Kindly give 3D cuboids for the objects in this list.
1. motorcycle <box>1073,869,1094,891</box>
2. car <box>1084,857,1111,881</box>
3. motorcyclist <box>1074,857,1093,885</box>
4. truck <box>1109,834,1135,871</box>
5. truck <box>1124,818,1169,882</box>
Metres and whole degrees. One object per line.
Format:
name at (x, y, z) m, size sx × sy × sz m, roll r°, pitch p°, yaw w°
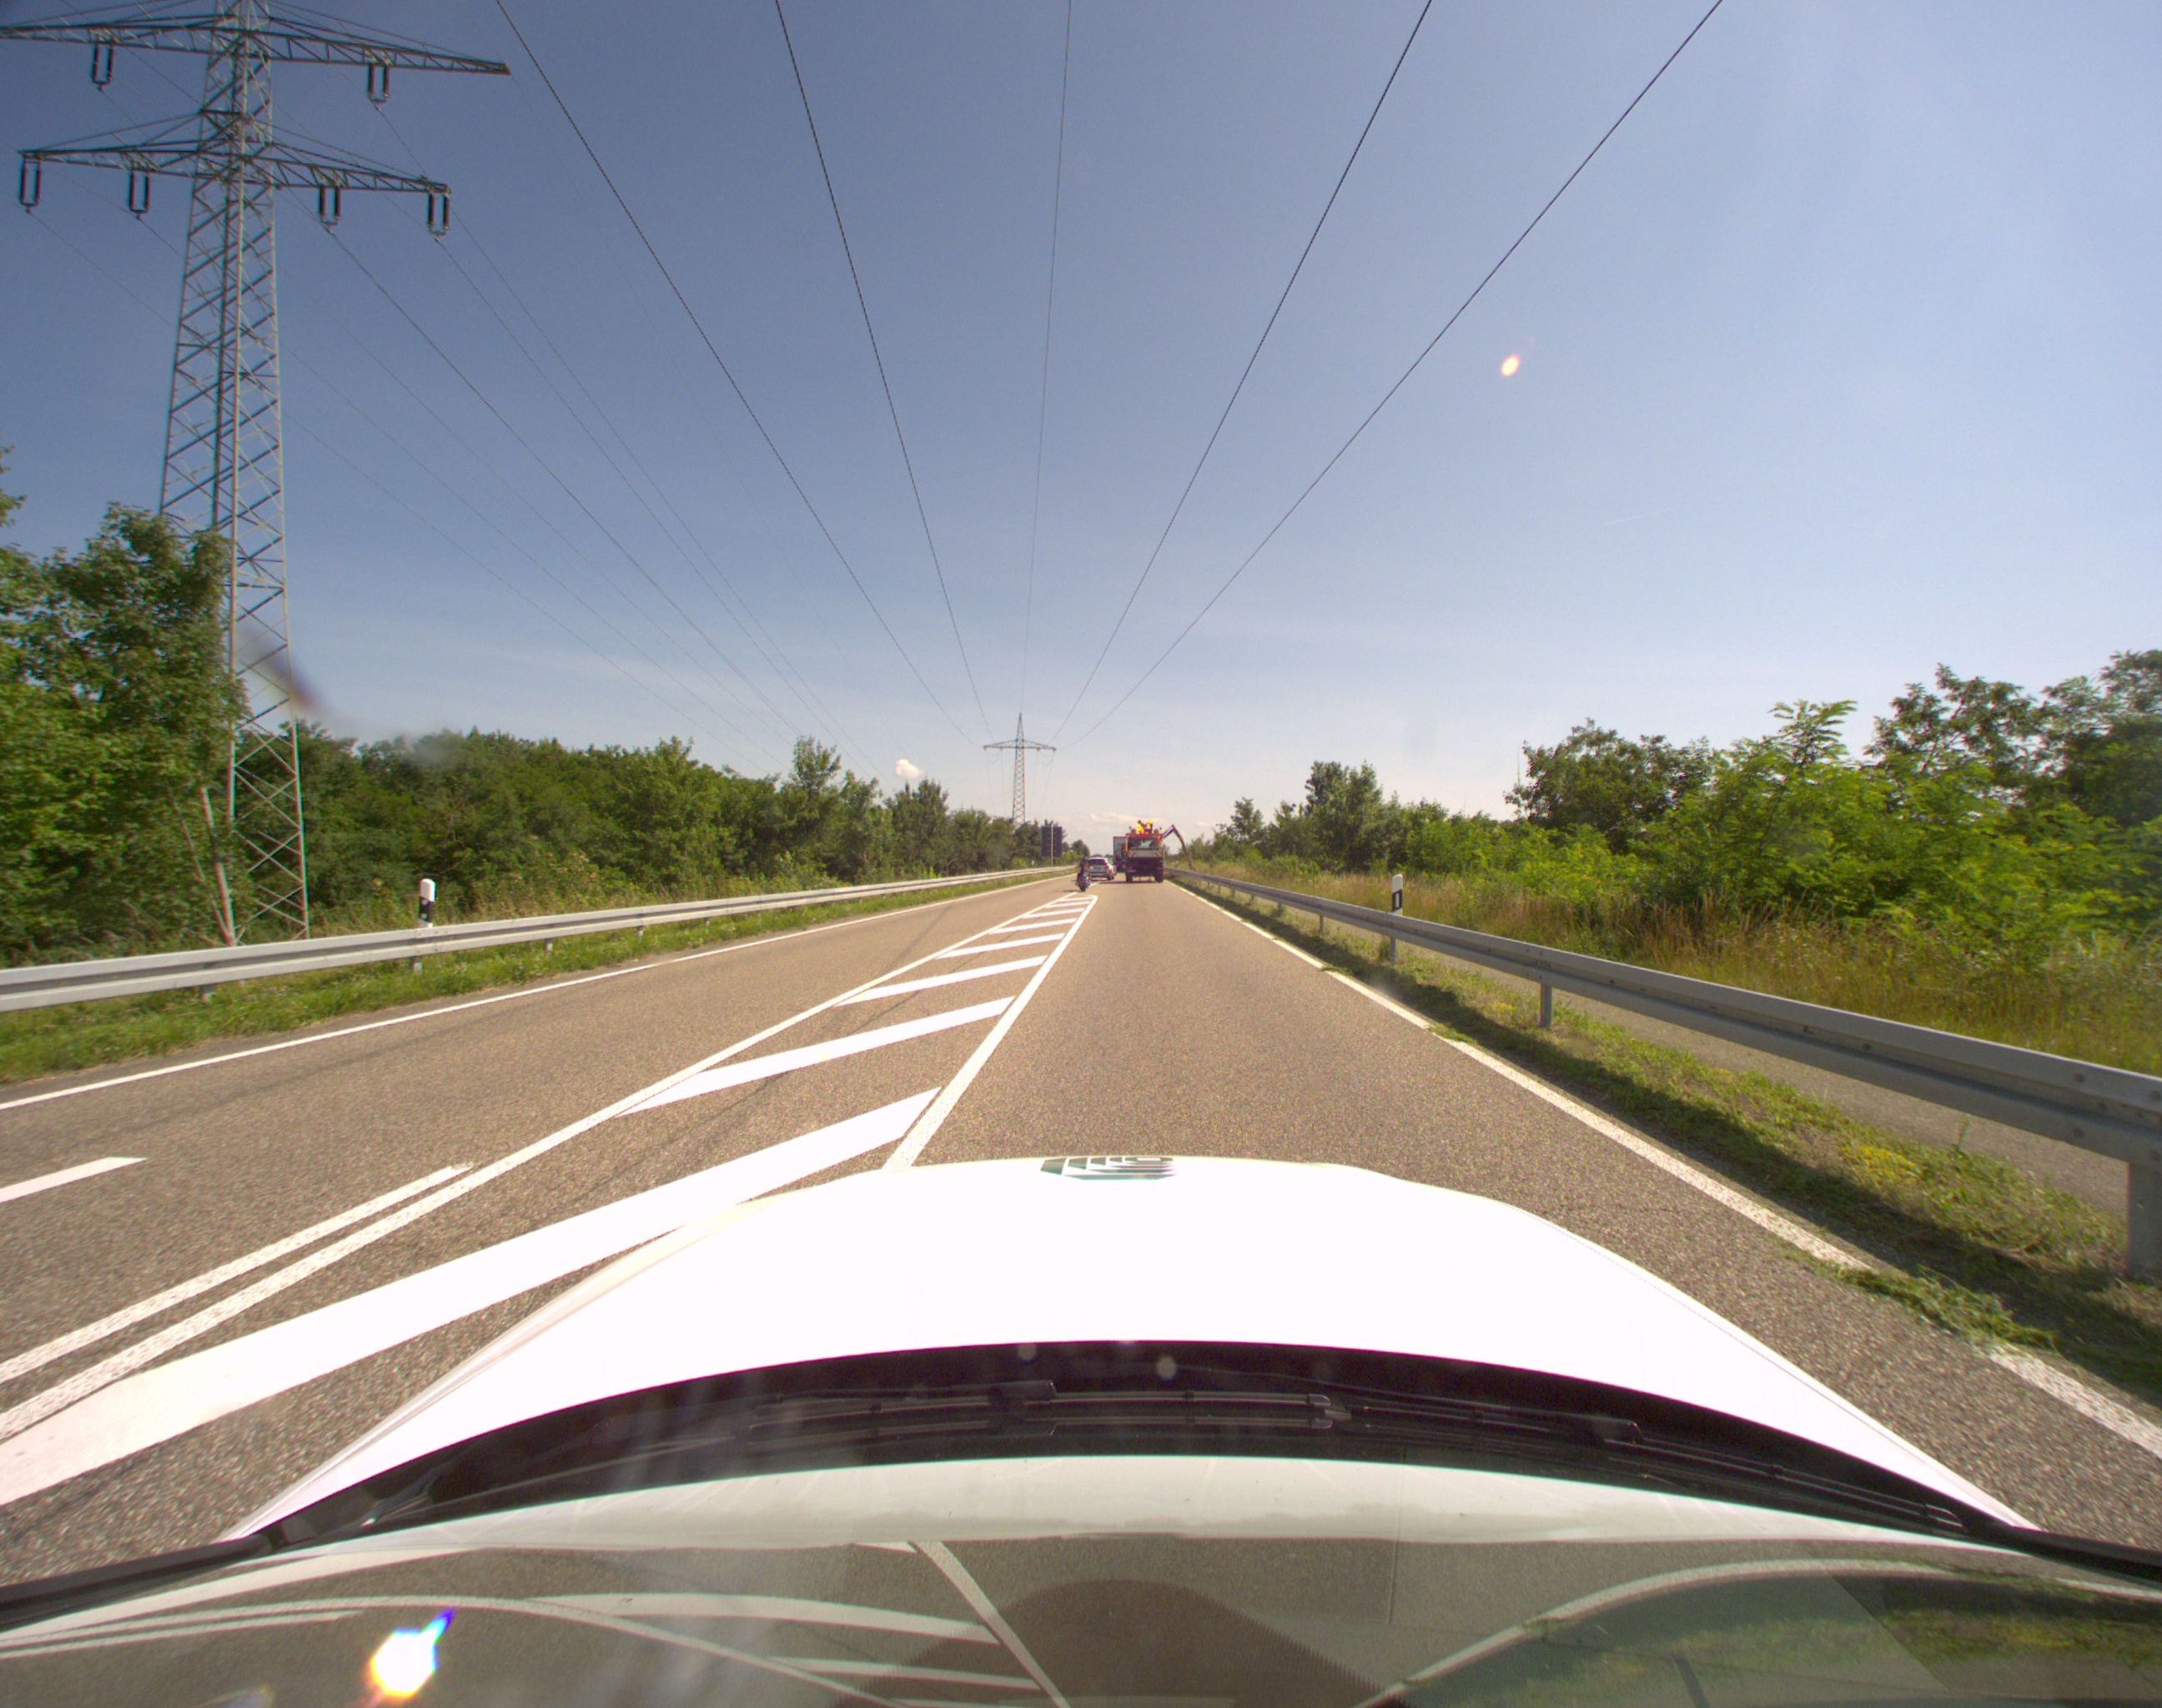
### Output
motorcycle at (0.134, 1.182, 37.062) m, size 0.855 × 0.915 × 2.228 m, roll -2°, pitch 0°, yaw 2°
car at (1.149, 0.998, 55.278) m, size 1.694 × 1.536 × 3.501 m, roll 0°, pitch 0°, yaw 3°
motorcyclist at (0.132, 0.770, 37.187) m, size 0.834 × 1.280 × 0.919 m, roll 0°, pitch 0°, yaw 1°
truck at (5.042, -0.156, 97.846) m, size 2.955 × 4.187 × 14.836 m, roll 0°, pitch 0°, yaw 4°
truck at (4.045, -0.234, 51.079) m, size 2.602 × 3.711 × 6.784 m, roll 0°, pitch 0°, yaw 4°
